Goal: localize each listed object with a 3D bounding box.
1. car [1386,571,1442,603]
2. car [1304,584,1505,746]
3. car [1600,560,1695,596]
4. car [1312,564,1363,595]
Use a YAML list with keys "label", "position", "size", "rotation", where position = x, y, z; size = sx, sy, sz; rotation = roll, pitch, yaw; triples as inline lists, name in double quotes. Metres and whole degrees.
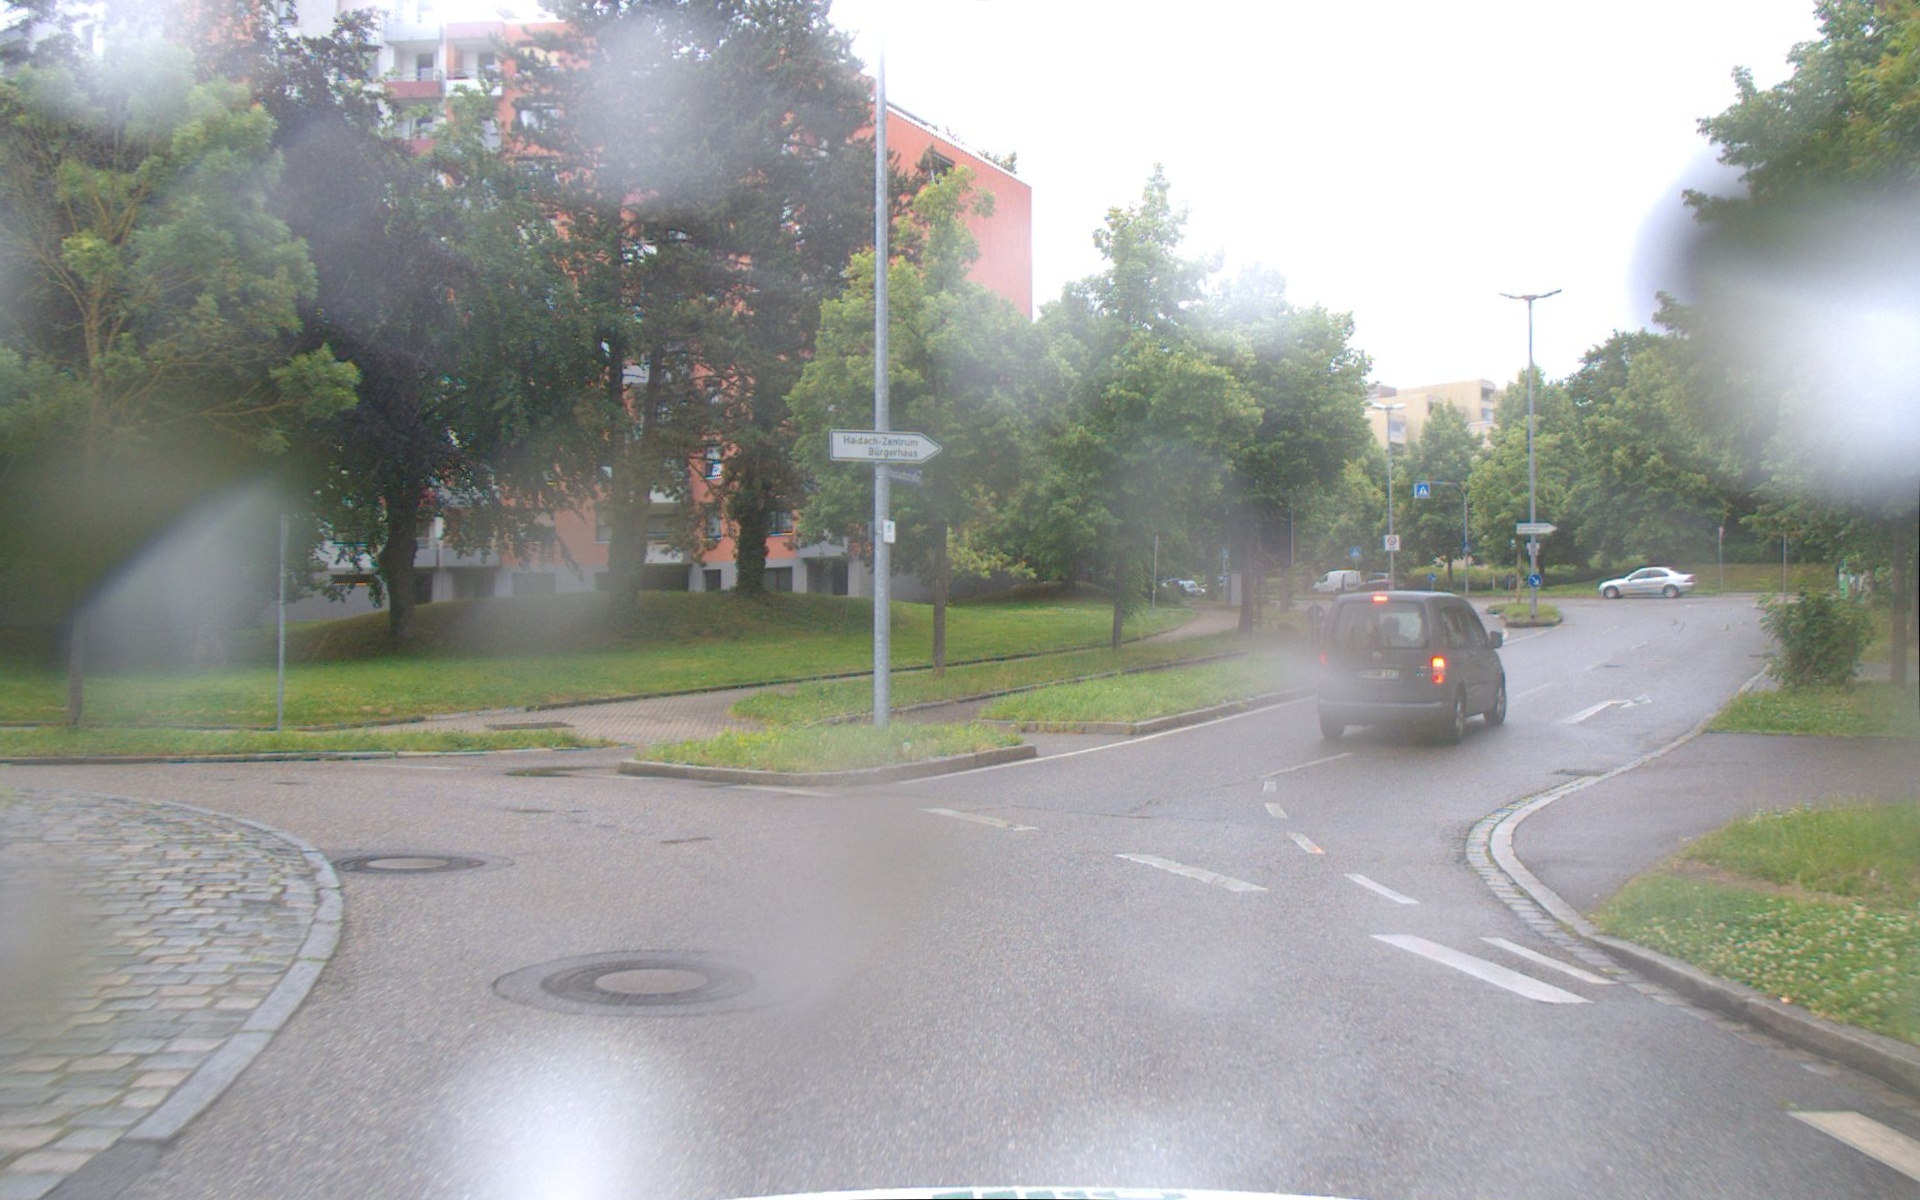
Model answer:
- label: "car"
  position: [28.100, -0.785, 102.537]
  size: [1.813, 1.906, 3.850]
  rotation: [0, -1, -11]
- label: "car"
  position: [5.866, 0.763, 21.521]
  size: [1.880, 1.832, 3.788]
  rotation: [-1, 1, 25]
- label: "car"
  position: [32.806, -1.032, 78.969]
  size: [3.916, 1.593, 1.881]
  rotation: [-1, -2, 33]
- label: "car"
  position: [25.369, -1.359, 111.319]
  size: [1.957, 1.906, 3.990]
  rotation: [0, -1, -10]
